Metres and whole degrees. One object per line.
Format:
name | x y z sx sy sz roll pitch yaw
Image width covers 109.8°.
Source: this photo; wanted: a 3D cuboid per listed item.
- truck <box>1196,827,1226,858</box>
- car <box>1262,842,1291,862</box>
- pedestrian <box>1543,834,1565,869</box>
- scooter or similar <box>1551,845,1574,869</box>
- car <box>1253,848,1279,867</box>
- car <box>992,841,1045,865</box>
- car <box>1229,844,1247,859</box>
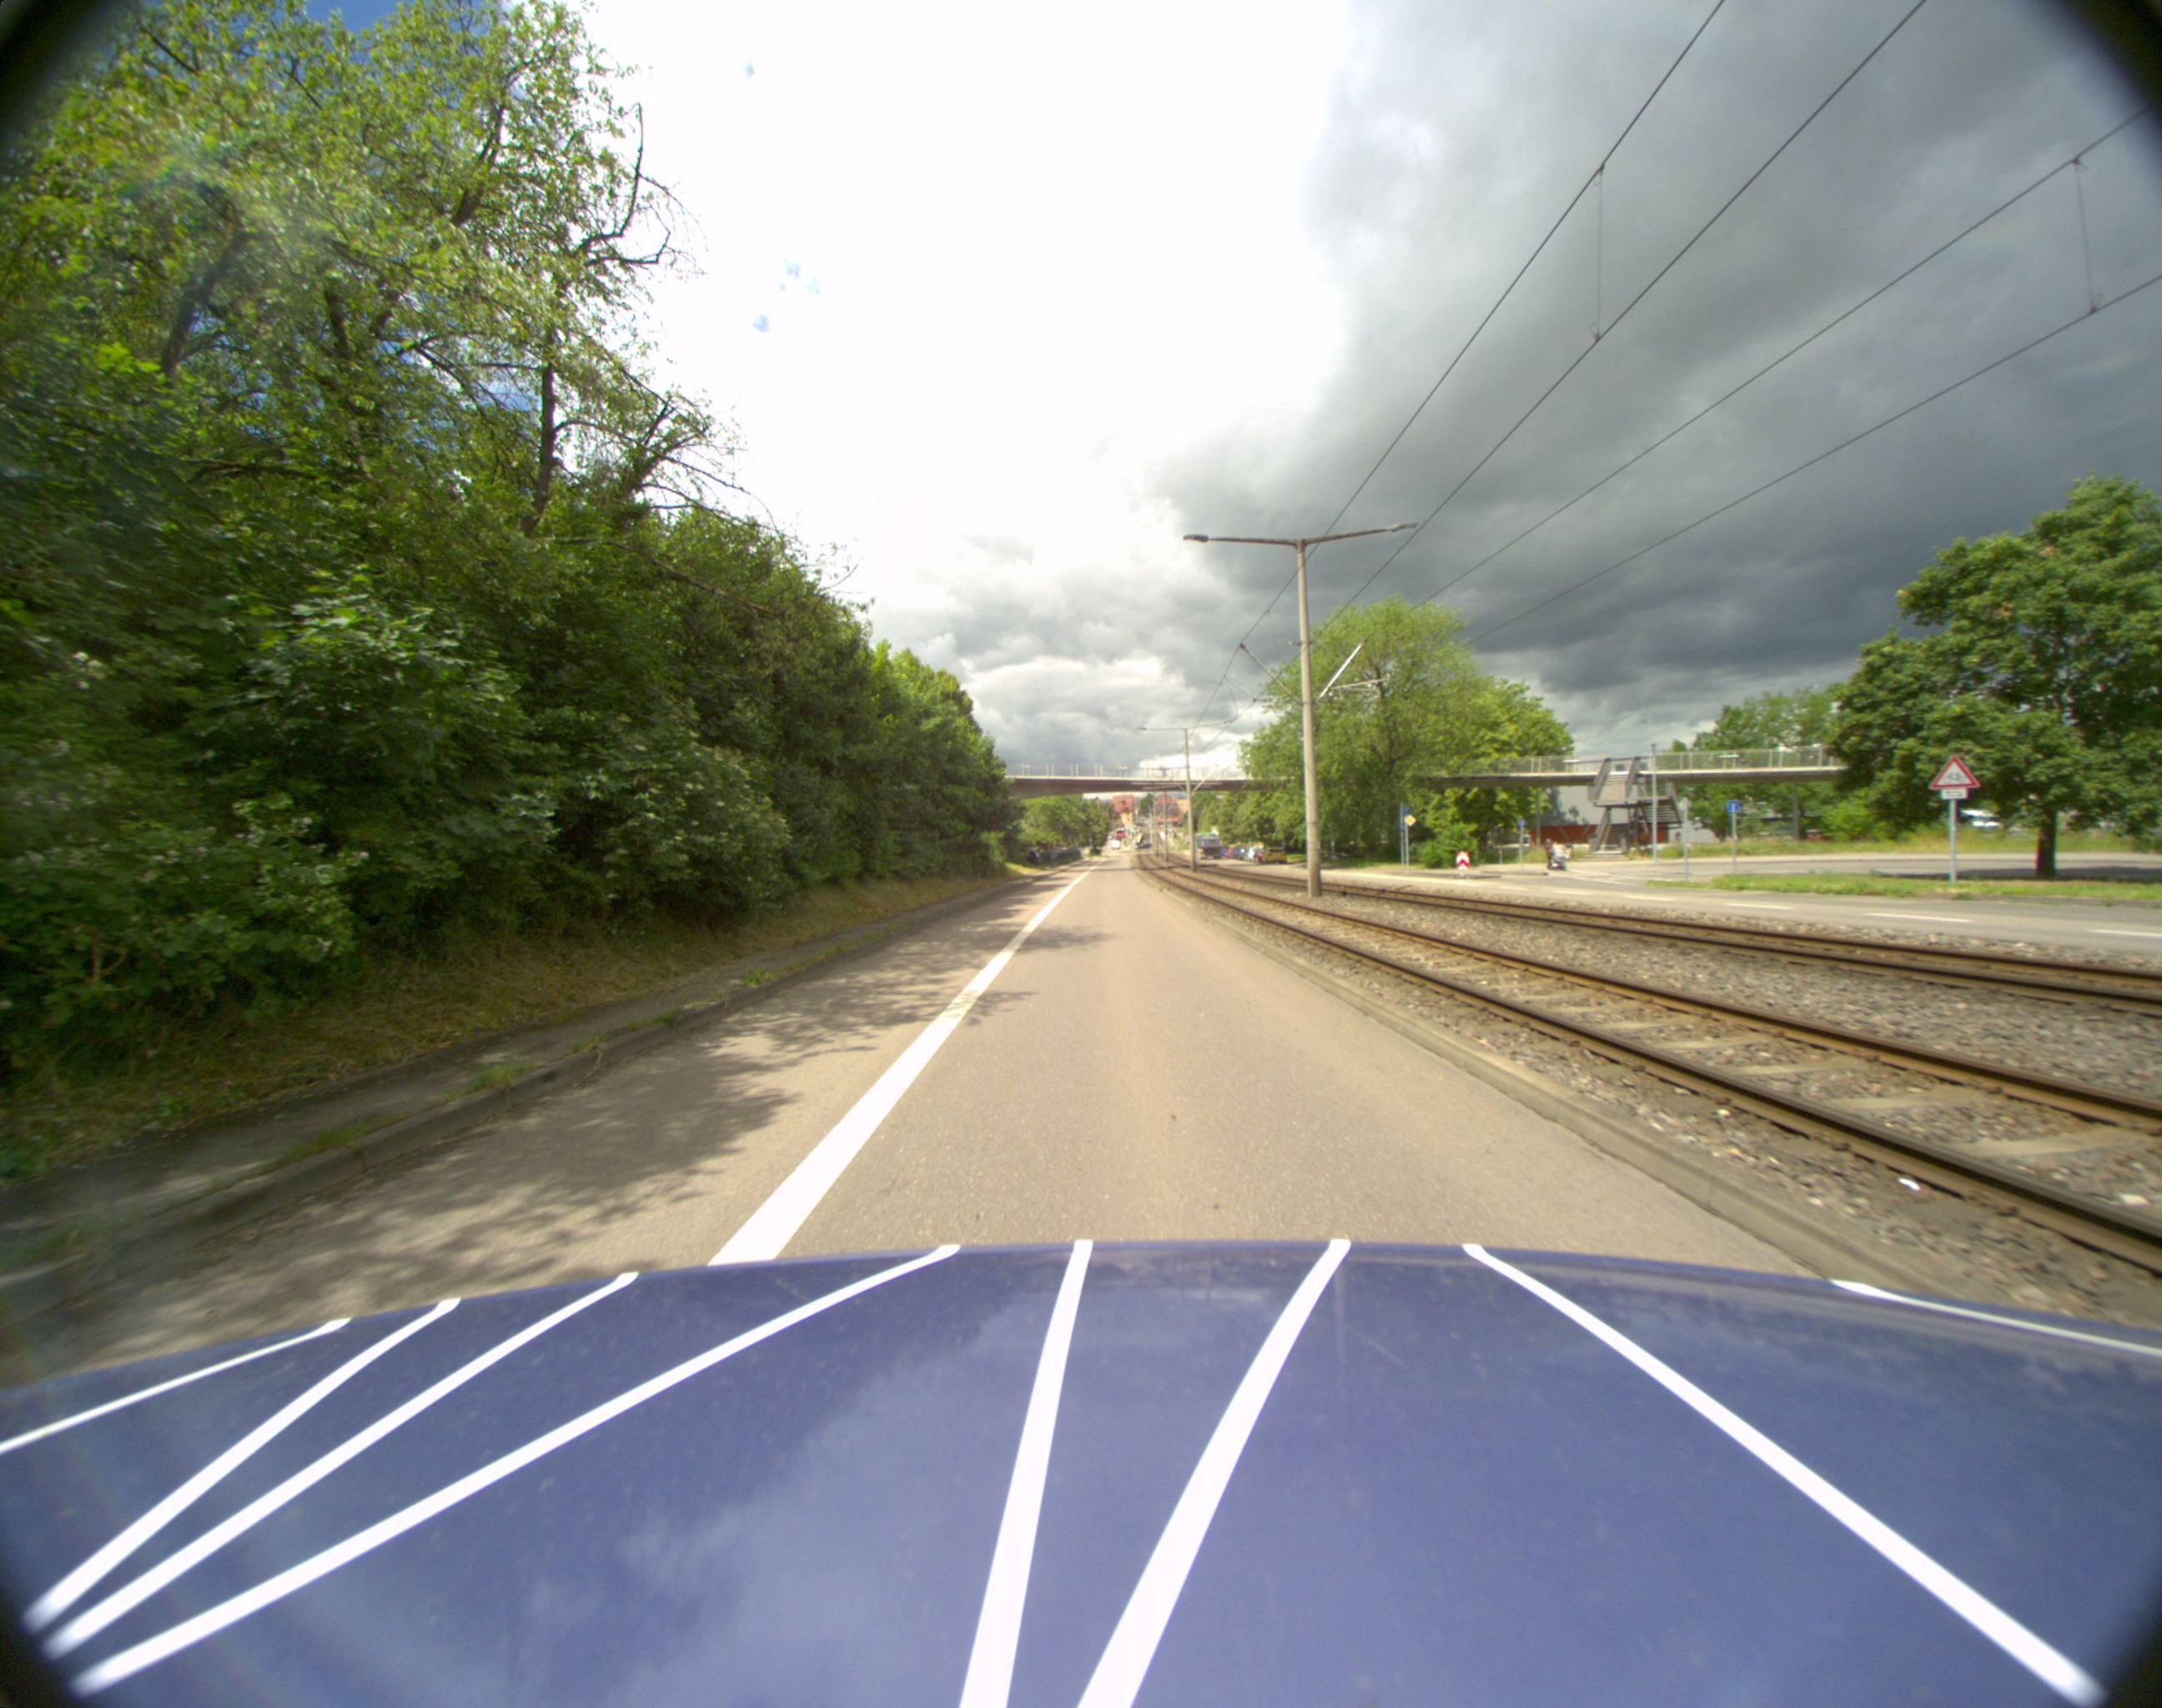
truck | 15.481 -1.438 91.014 2.877 3.301 9.032 -4 2 7
car | 16.619 -0.199 64.662 1.693 1.442 3.898 -4 2 5
pedestrian | 24.757 -0.142 39.770 0.662 1.746 0.718 -4 3 5
scooter or similar | 24.499 0.124 38.660 0.712 1.141 0.788 -4 3 6
car | 16.872 0.314 69.543 1.693 1.442 3.898 -4 2 5
car | -5.883 -0.111 71.981 4.534 1.662 2.000 6 3 4
car | 17.790 -0.293 86.123 1.560 1.587 4.161 -1 1 5
